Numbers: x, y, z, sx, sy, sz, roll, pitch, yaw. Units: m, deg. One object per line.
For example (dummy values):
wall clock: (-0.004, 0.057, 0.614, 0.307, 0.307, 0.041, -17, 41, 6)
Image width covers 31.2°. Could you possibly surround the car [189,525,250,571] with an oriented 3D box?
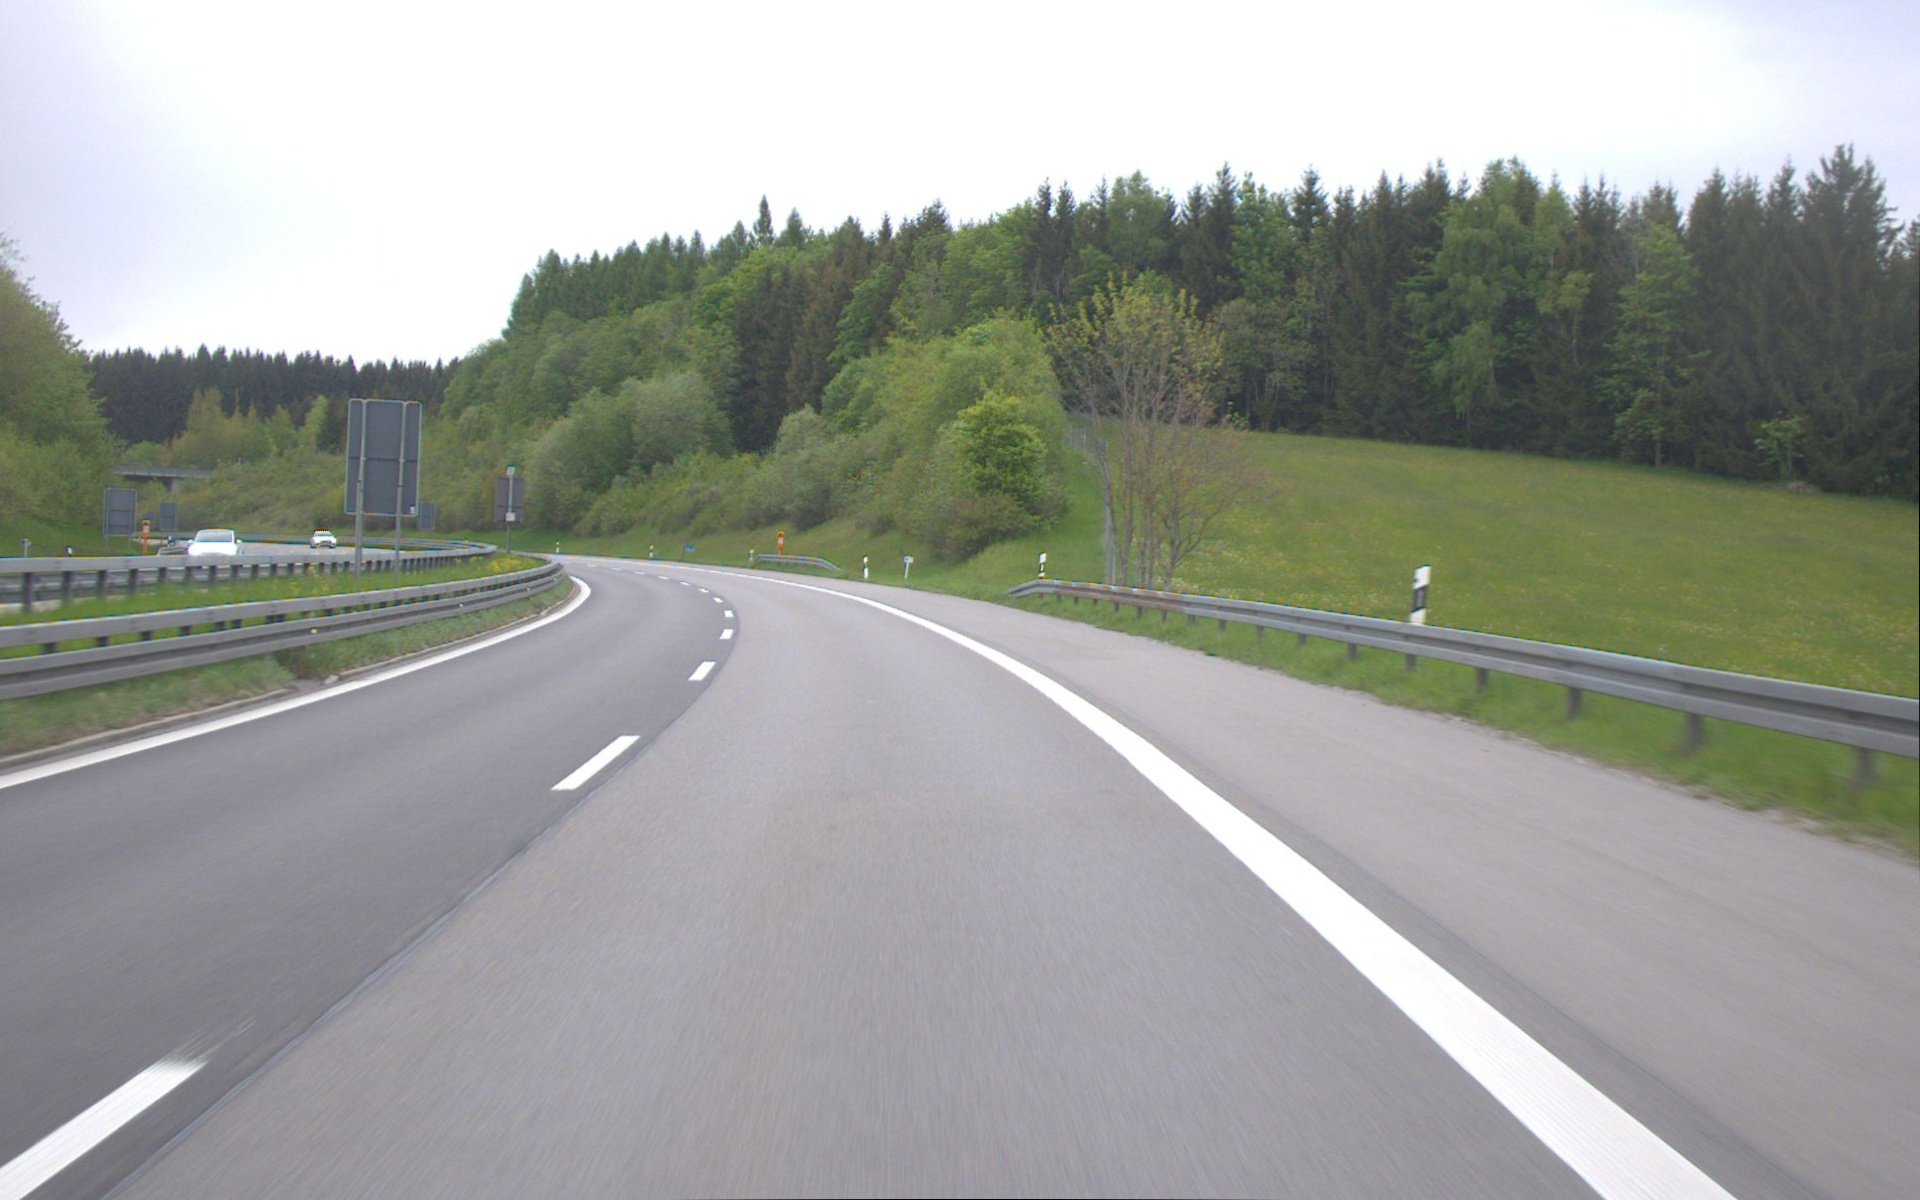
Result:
car: (-30.032, -2.125, 139.516, 2.035, 1.685, 5.057, 3, 1, -8)
